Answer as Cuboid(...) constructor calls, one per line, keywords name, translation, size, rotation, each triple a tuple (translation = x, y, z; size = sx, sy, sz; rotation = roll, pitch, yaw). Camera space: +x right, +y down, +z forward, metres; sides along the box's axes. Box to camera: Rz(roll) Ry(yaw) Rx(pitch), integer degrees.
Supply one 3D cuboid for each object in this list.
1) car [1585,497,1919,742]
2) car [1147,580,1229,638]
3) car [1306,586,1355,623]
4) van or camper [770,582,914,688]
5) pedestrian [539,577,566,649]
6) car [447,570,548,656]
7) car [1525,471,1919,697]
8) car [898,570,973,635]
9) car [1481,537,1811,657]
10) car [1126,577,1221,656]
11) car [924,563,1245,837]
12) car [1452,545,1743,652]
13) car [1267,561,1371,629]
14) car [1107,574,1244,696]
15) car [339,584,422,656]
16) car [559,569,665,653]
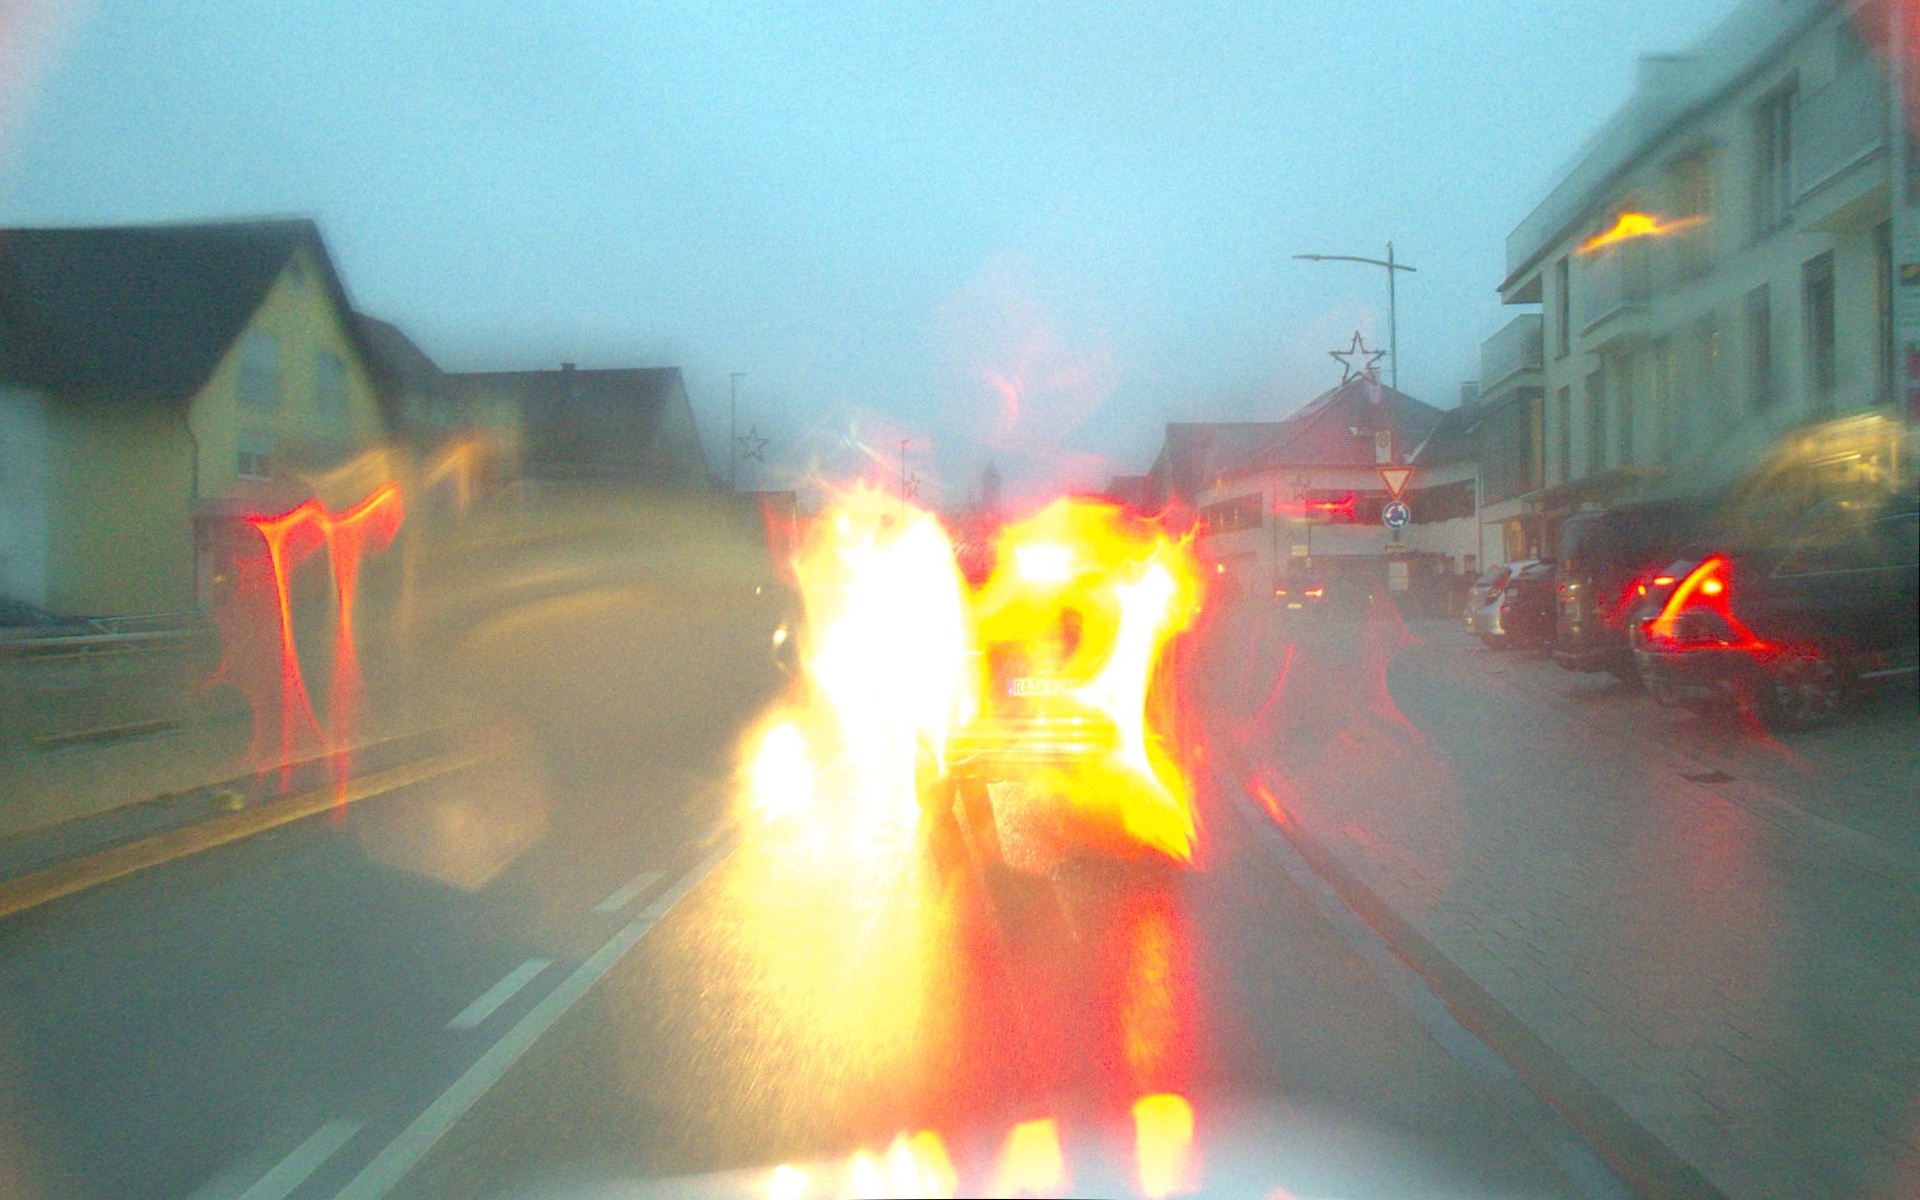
Cuboid(name="car", translation=(7.846, 0.036, 14.263), size=(4.094, 1.666, 1.803), rotation=(-7, 1, -2))
Cuboid(name="car", translation=(5.909, 0.209, 43.261), size=(1.951, 1.416, 4.003), rotation=(-1, 1, 6))
Cuboid(name="car", translation=(15.850, 0.175, 70.844), size=(1.532, 1.437, 3.604), rotation=(-4, 0, 6))
Cuboid(name="van or camper", translation=(-1.614, 0.450, 23.658), size=(1.529, 1.379, 3.424), rotation=(-1, 0, 4))
Cuboid(name="pedestrian", translation=(-9.990, 0.306, 40.535), size=(0.488, 1.731, 0.709), rotation=(-2, 1, -20))
Cuboid(name="car", translation=(-11.299, 0.273, 40.240), size=(2.008, 1.959, 4.032), rotation=(-1, 1, -20))
Cuboid(name="car", translation=(8.724, -0.205, 17.873), size=(4.468, 1.953, 1.951), rotation=(-6, -1, 5))
Cuboid(name="car", translation=(-0.628, 0.027, 45.221), size=(1.700, 1.682, 4.002), rotation=(-1, 1, 4))
Cuboid(name="car", translation=(10.123, -0.045, 24.635), size=(4.119, 1.485, 1.793), rotation=(-3, 0, 0))
Cuboid(name="car", translation=(4.246, 0.284, 33.250), size=(1.776, 1.436, 4.003), rotation=(1, 1, 6))
Cuboid(name="car", translation=(0.923, 0.565, 12.166), size=(1.923, 1.622, 4.316), rotation=(1, 1, 5))
Cuboid(name="car", translation=(10.609, -0.023, 27.726), size=(4.119, 1.485, 1.793), rotation=(-3, 0, 0))
Cuboid(name="car", translation=(12.088, -0.209, 55.460), size=(2.117, 2.025, 4.493), rotation=(-4, 0, 28))
Cuboid(name="car", translation=(2.853, 0.413, 22.079), size=(1.646, 1.478, 4.003), rotation=(0, 0, 7))
Cuboid(name="car", translation=(-14.155, 0.441, 40.348), size=(1.795, 1.641, 4.032), rotation=(-1, 1, -20))
Cuboid(name="car", translation=(-8.677, 0.240, 41.014), size=(2.008, 1.959, 4.032), rotation=(-1, 1, -20))
